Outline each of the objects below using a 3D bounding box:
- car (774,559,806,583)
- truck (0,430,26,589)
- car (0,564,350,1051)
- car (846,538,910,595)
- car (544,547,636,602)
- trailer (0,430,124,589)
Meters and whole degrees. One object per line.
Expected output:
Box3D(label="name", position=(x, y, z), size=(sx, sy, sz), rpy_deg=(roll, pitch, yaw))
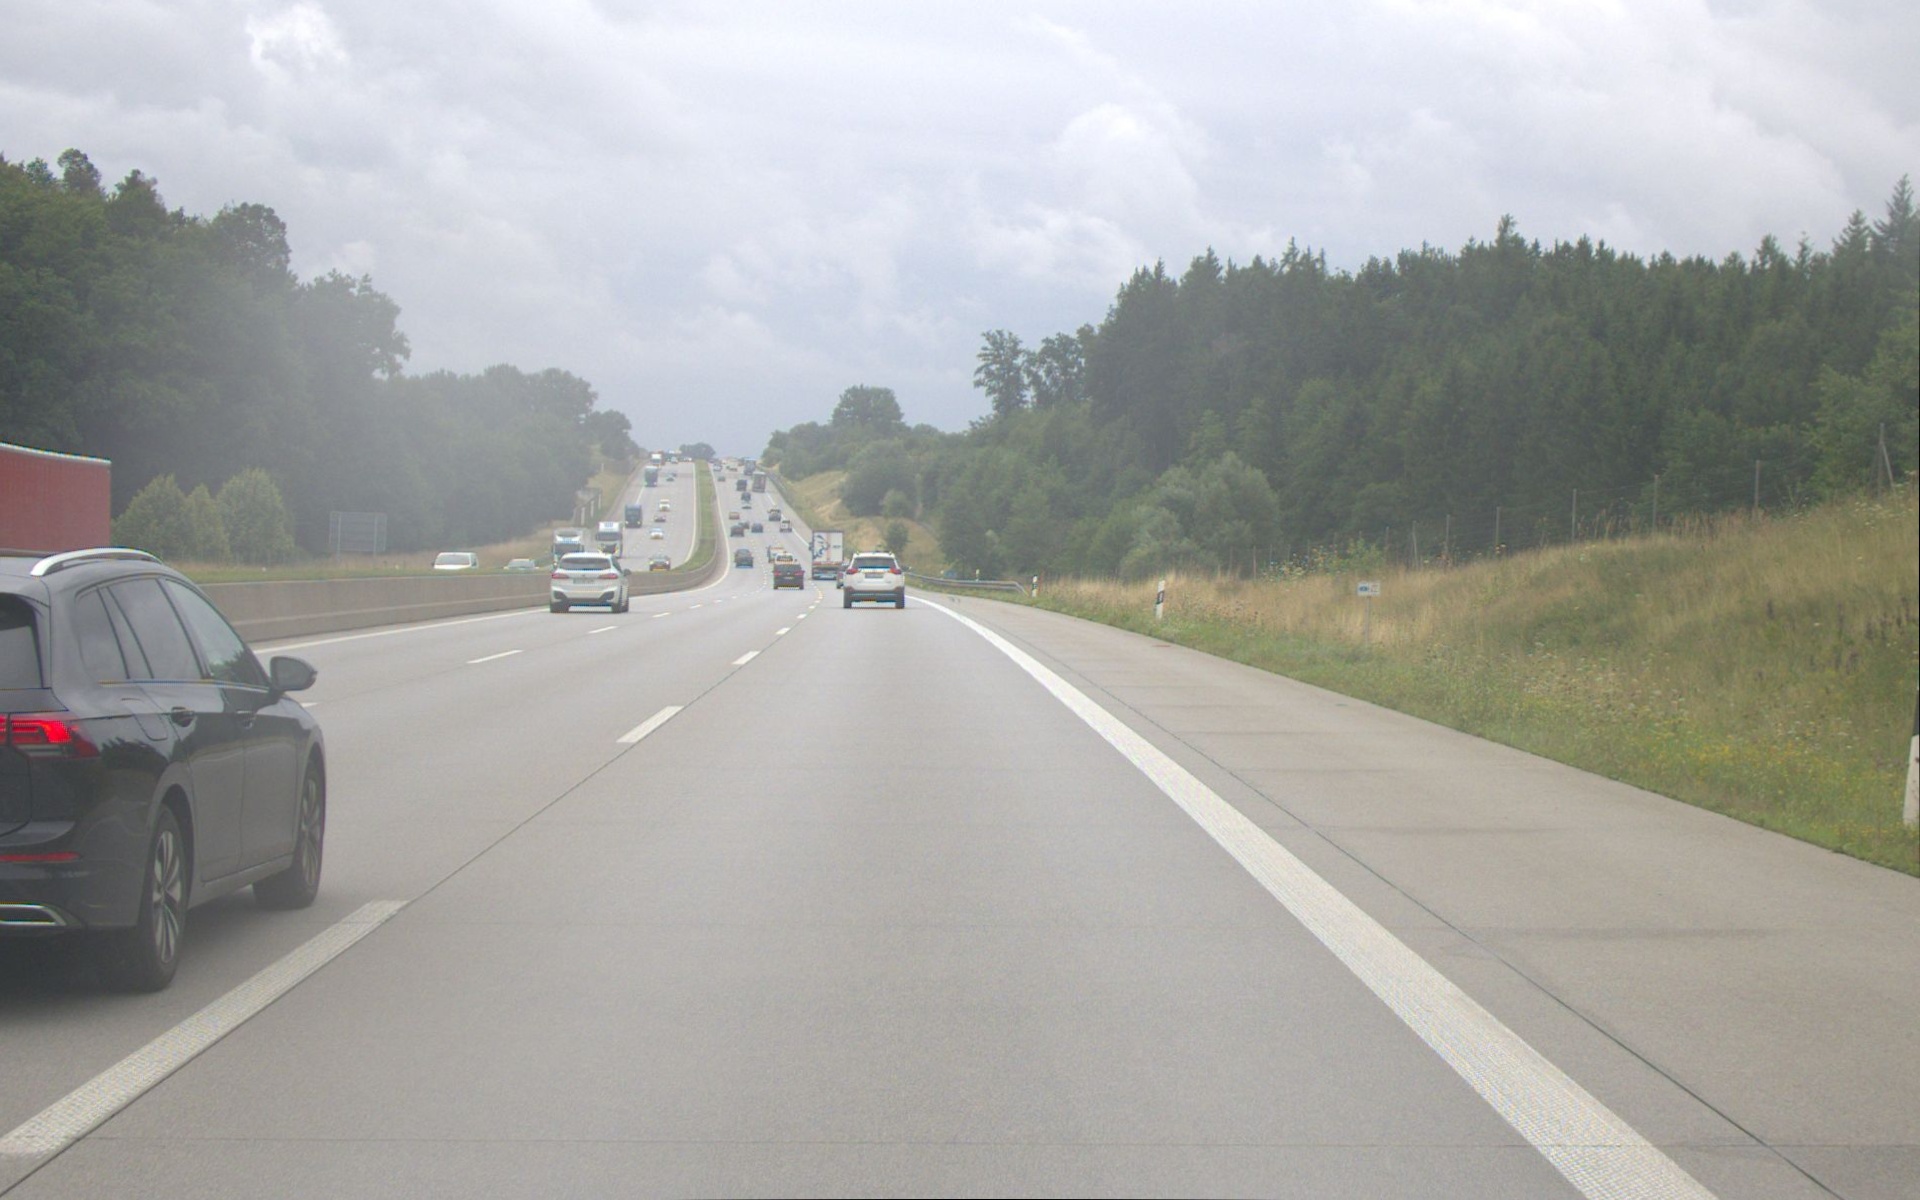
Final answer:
Box3D(label="car", position=(-10.613, -1.835, 214.351), size=(1.935, 1.370, 4.595), rpy_deg=(1, 1, -3))
Box3D(label="truck", position=(-25.014, -2.237, 84.110), size=(2.553, 3.914, 6.947), rpy_deg=(1, 1, -1))
Box3D(label="car", position=(-3.465, 0.591, 12.441), size=(1.752, 1.393, 4.484), rpy_deg=(1, 1, -1))
Box3D(label="car", position=(-2.418, -1.013, 102.111), size=(1.825, 1.650, 3.985), rpy_deg=(1, 1, -1))
Box3D(label="car", position=(-9.515, -0.673, 88.780), size=(1.947, 1.351, 4.260), rpy_deg=(1, 1, -1))
Box3D(label="trailer", position=(-25.235, -2.381, 91.929), size=(2.608, 3.930, 14.381), rpy_deg=(1, 1, -2))
